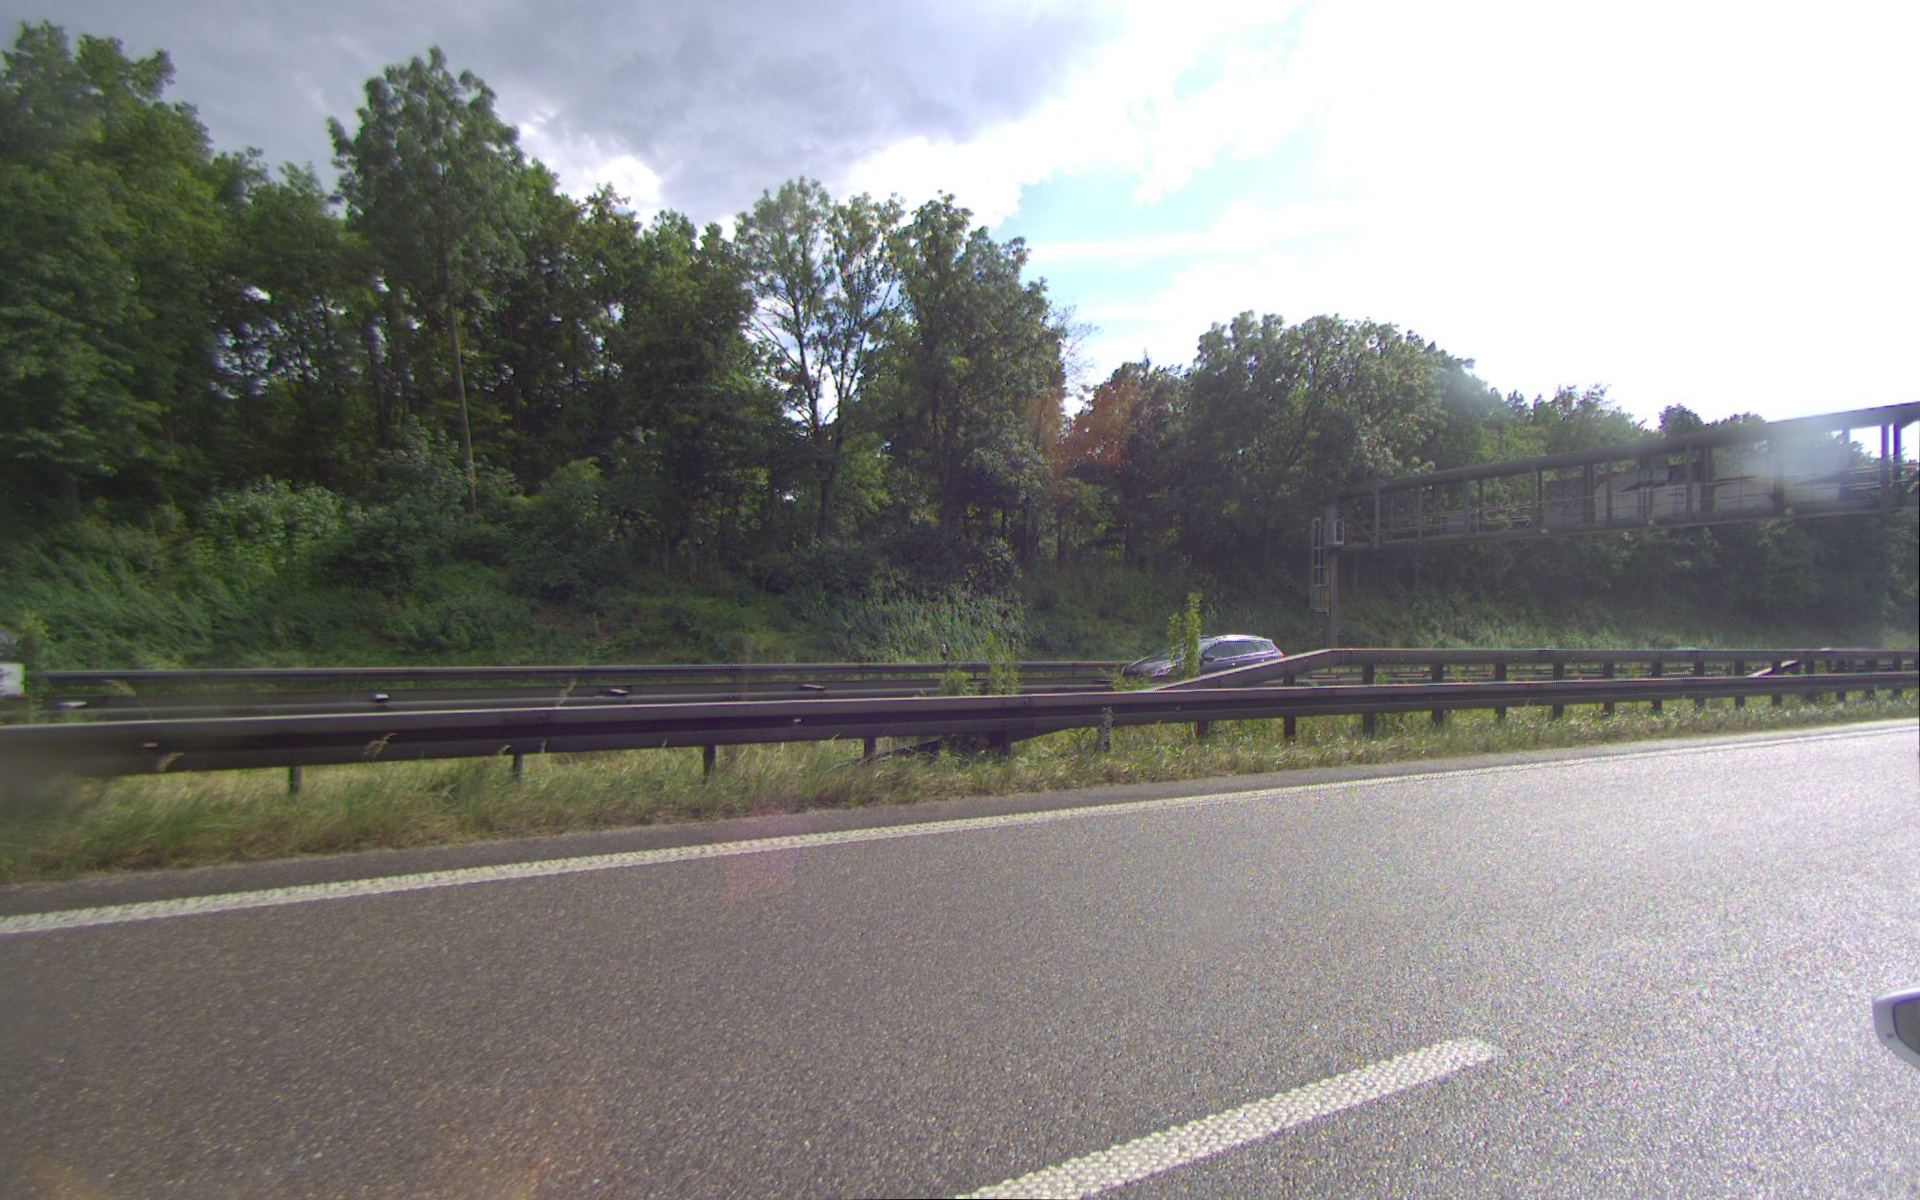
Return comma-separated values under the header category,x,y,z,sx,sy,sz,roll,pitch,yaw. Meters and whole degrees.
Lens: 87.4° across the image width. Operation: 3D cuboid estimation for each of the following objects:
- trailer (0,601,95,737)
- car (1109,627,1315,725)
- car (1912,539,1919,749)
category,x,y,z,sx,sy,sz,roll,pitch,yaw
trailer,-16.183,1.016,15.476,3.953,2.040,1.984,2,0,-30
car,5.971,1.732,23.673,4.678,2.040,1.983,2,0,-31
car,15.209,0.632,13.548,5.711,2.684,2.005,2,-1,-31
